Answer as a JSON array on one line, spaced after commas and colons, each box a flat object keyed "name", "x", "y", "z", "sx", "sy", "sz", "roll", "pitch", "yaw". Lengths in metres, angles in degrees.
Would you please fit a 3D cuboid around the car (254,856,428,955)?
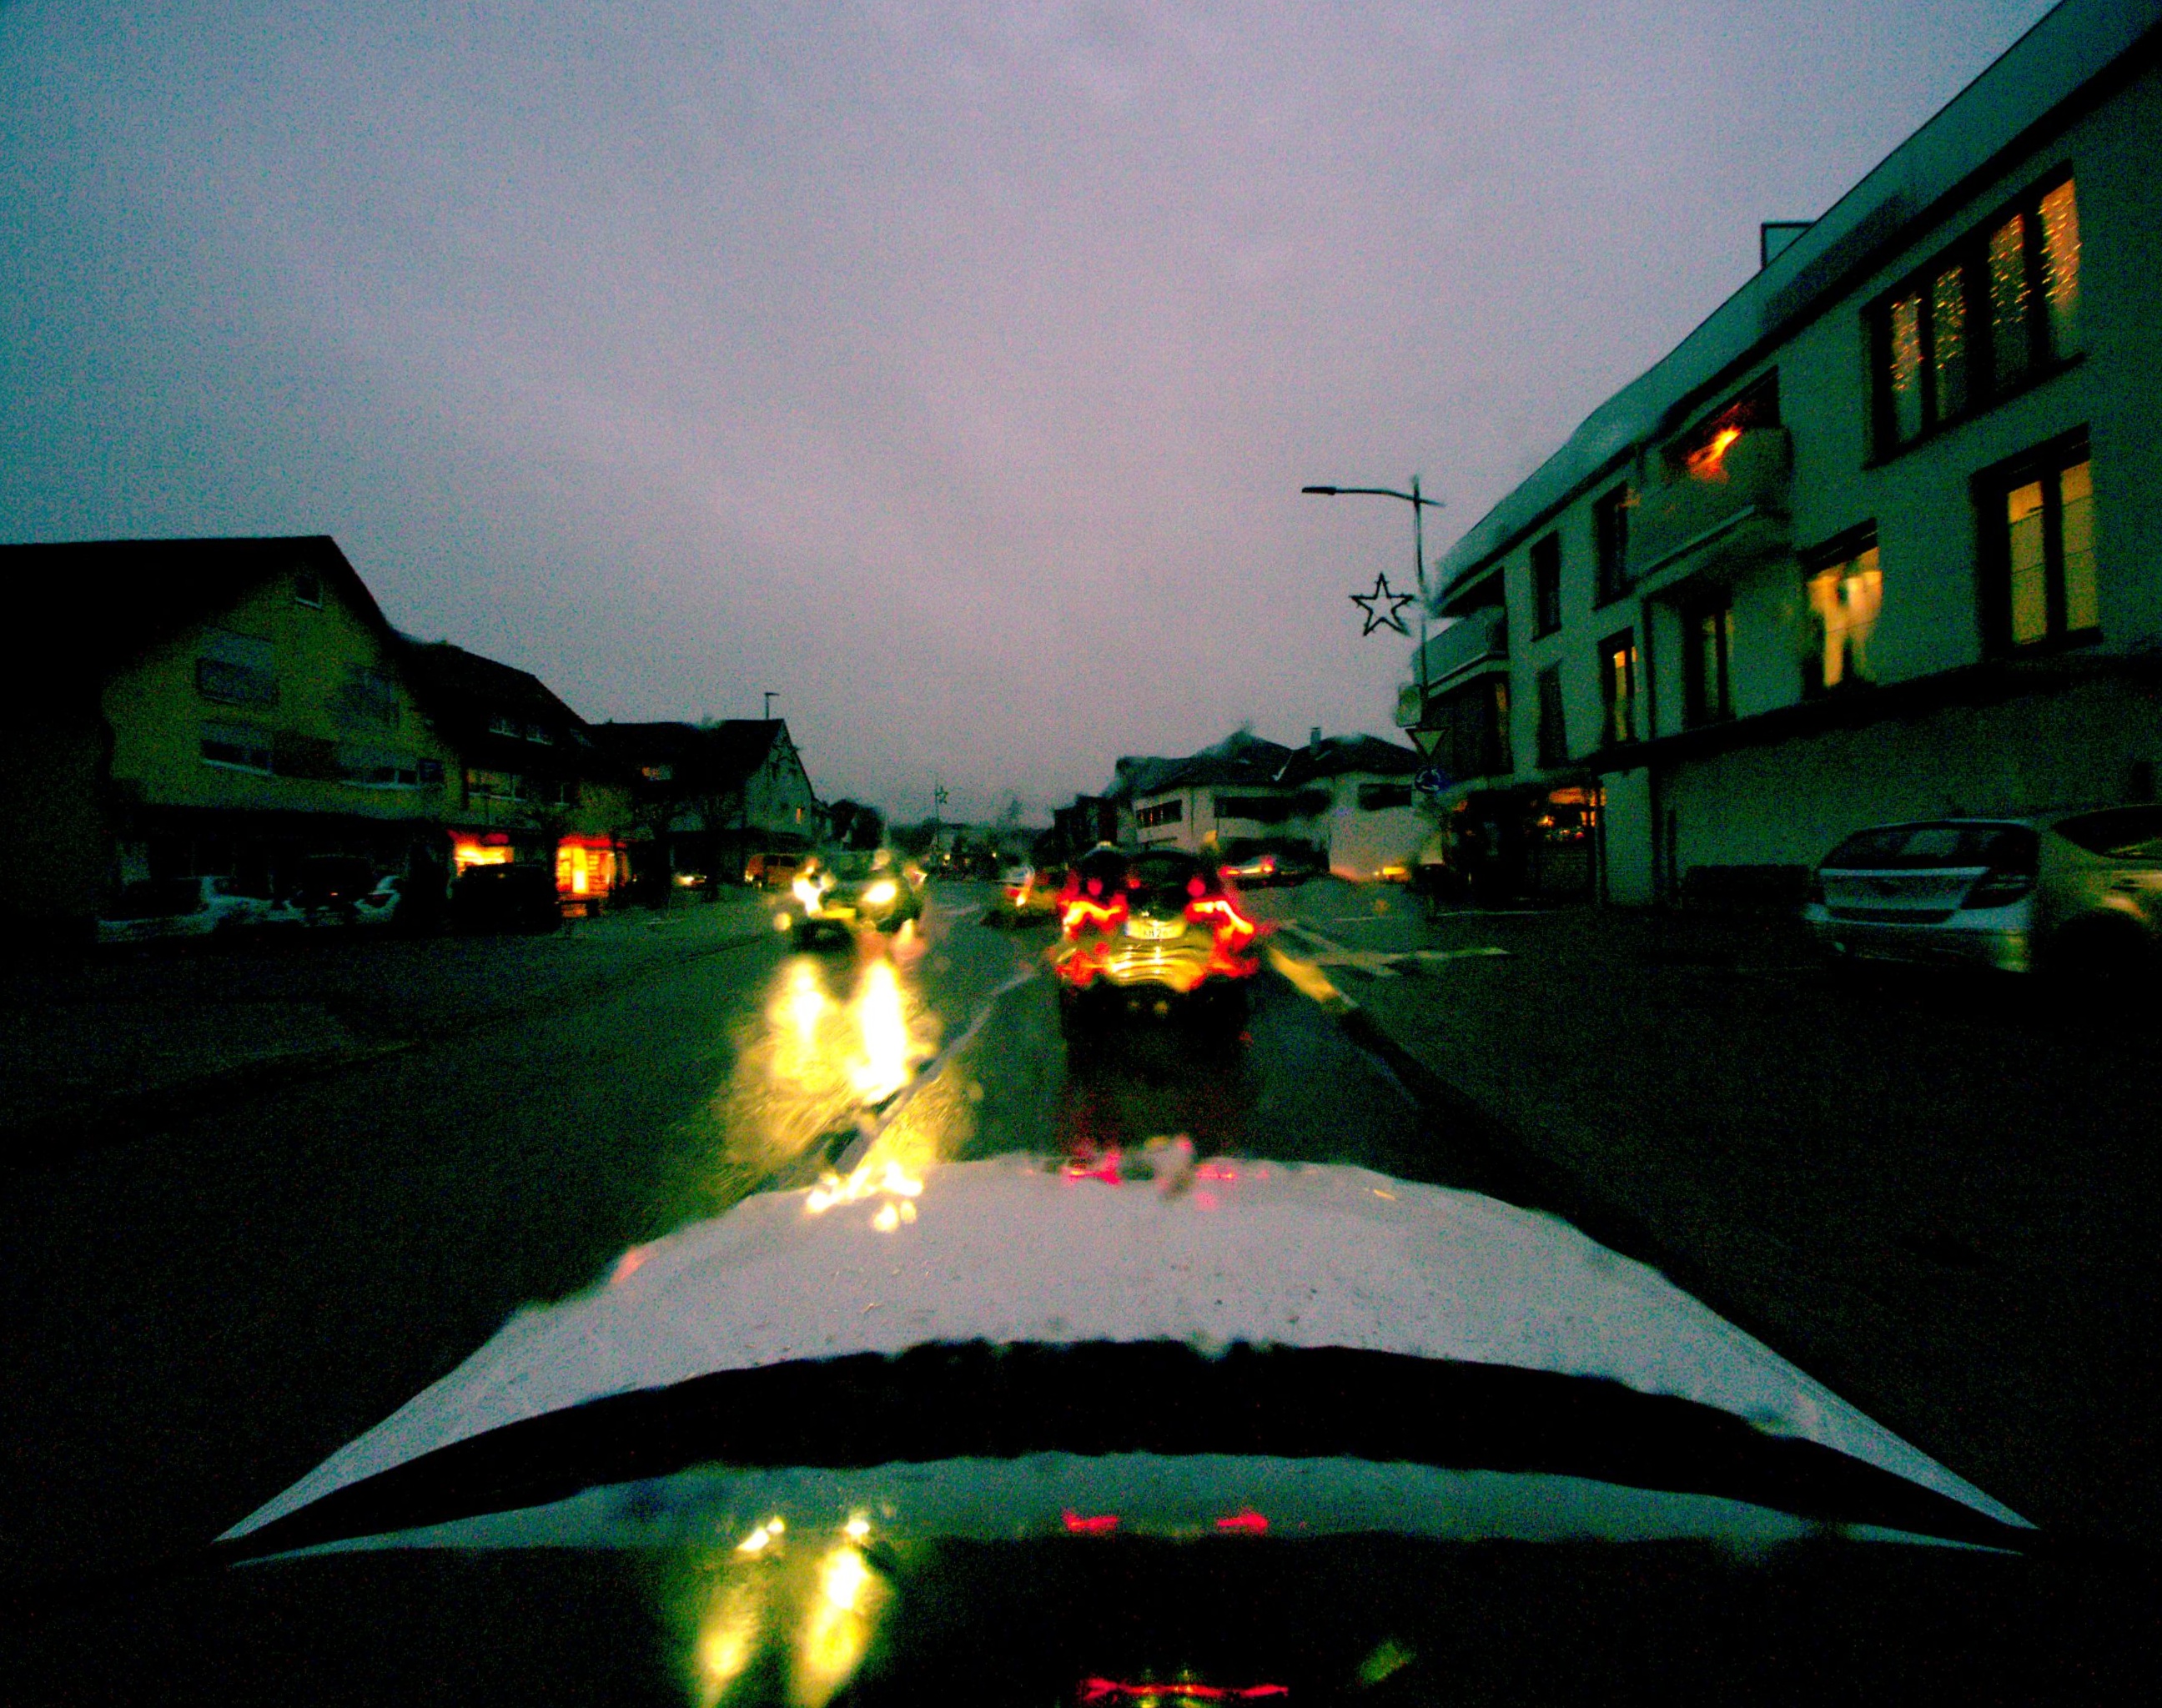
[{"name": "car", "x": -15.005, "y": 0.969, "z": 16.763, "sx": 1.847, "sy": 1.670, "sz": 3.858, "roll": -3, "pitch": 1, "yaw": -31}]

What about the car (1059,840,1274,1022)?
[{"name": "car", "x": 0.806, "y": 0.696, "z": 9.269, "sx": 1.909, "sy": 1.615, "sz": 3.951, "roll": 0, "pitch": 0, "yaw": 1}]

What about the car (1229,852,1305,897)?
[{"name": "car", "x": 8.016, "y": 0.833, "z": 34.868, "sx": 1.804, "sy": 1.628, "sz": 4.026, "roll": -3, "pitch": 1, "yaw": 33}]

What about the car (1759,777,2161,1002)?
[{"name": "car", "x": 8.288, "y": 0.191, "z": 6.769, "sx": 3.983, "sy": 1.503, "sz": 1.809, "roll": -3, "pitch": -1, "yaw": -7}]

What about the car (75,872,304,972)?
[{"name": "car", "x": -17.789, "y": 1.250, "z": 16.531, "sx": 1.769, "sy": 1.631, "sz": 3.964, "roll": -3, "pitch": 1, "yaw": -27}]

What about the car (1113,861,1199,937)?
[{"name": "car", "x": 1.677, "y": 0.966, "z": 19.031, "sx": 1.770, "sy": 1.539, "sz": 3.935, "roll": -1, "pitch": 0, "yaw": 3}]

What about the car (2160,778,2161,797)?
[{"name": "car", "x": 8.399, "y": 0.144, "z": 3.764, "sx": 4.501, "sy": 1.492, "sz": 1.971, "roll": -4, "pitch": -2, "yaw": -5}]

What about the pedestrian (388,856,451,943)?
[{"name": "pedestrian", "x": -13.782, "y": 0.929, "z": 17.001, "sx": 0.844, "sy": 1.711, "sz": 0.717, "roll": -3, "pitch": 0, "yaw": -30}]

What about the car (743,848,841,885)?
[{"name": "car", "x": -16.020, "y": 0.702, "z": 45.171, "sx": 4.845, "sy": 2.014, "sz": 2.009, "roll": -1, "pitch": -1, "yaw": 18}]

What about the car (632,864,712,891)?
[{"name": "car", "x": -23.720, "y": 1.374, "z": 47.340, "sx": 3.807, "sy": 1.422, "sz": 1.718, "roll": -1, "pitch": -3, "yaw": 7}]

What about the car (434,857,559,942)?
[{"name": "car", "x": -12.635, "y": 0.913, "z": 17.708, "sx": 1.922, "sy": 1.531, "sz": 4.135, "roll": -3, "pitch": 0, "yaw": -35}]

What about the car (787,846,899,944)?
[{"name": "car", "x": -4.439, "y": 0.681, "z": 15.677, "sx": 1.780, "sy": 1.621, "sz": 3.941, "roll": 0, "pitch": 0, "yaw": -12}]
